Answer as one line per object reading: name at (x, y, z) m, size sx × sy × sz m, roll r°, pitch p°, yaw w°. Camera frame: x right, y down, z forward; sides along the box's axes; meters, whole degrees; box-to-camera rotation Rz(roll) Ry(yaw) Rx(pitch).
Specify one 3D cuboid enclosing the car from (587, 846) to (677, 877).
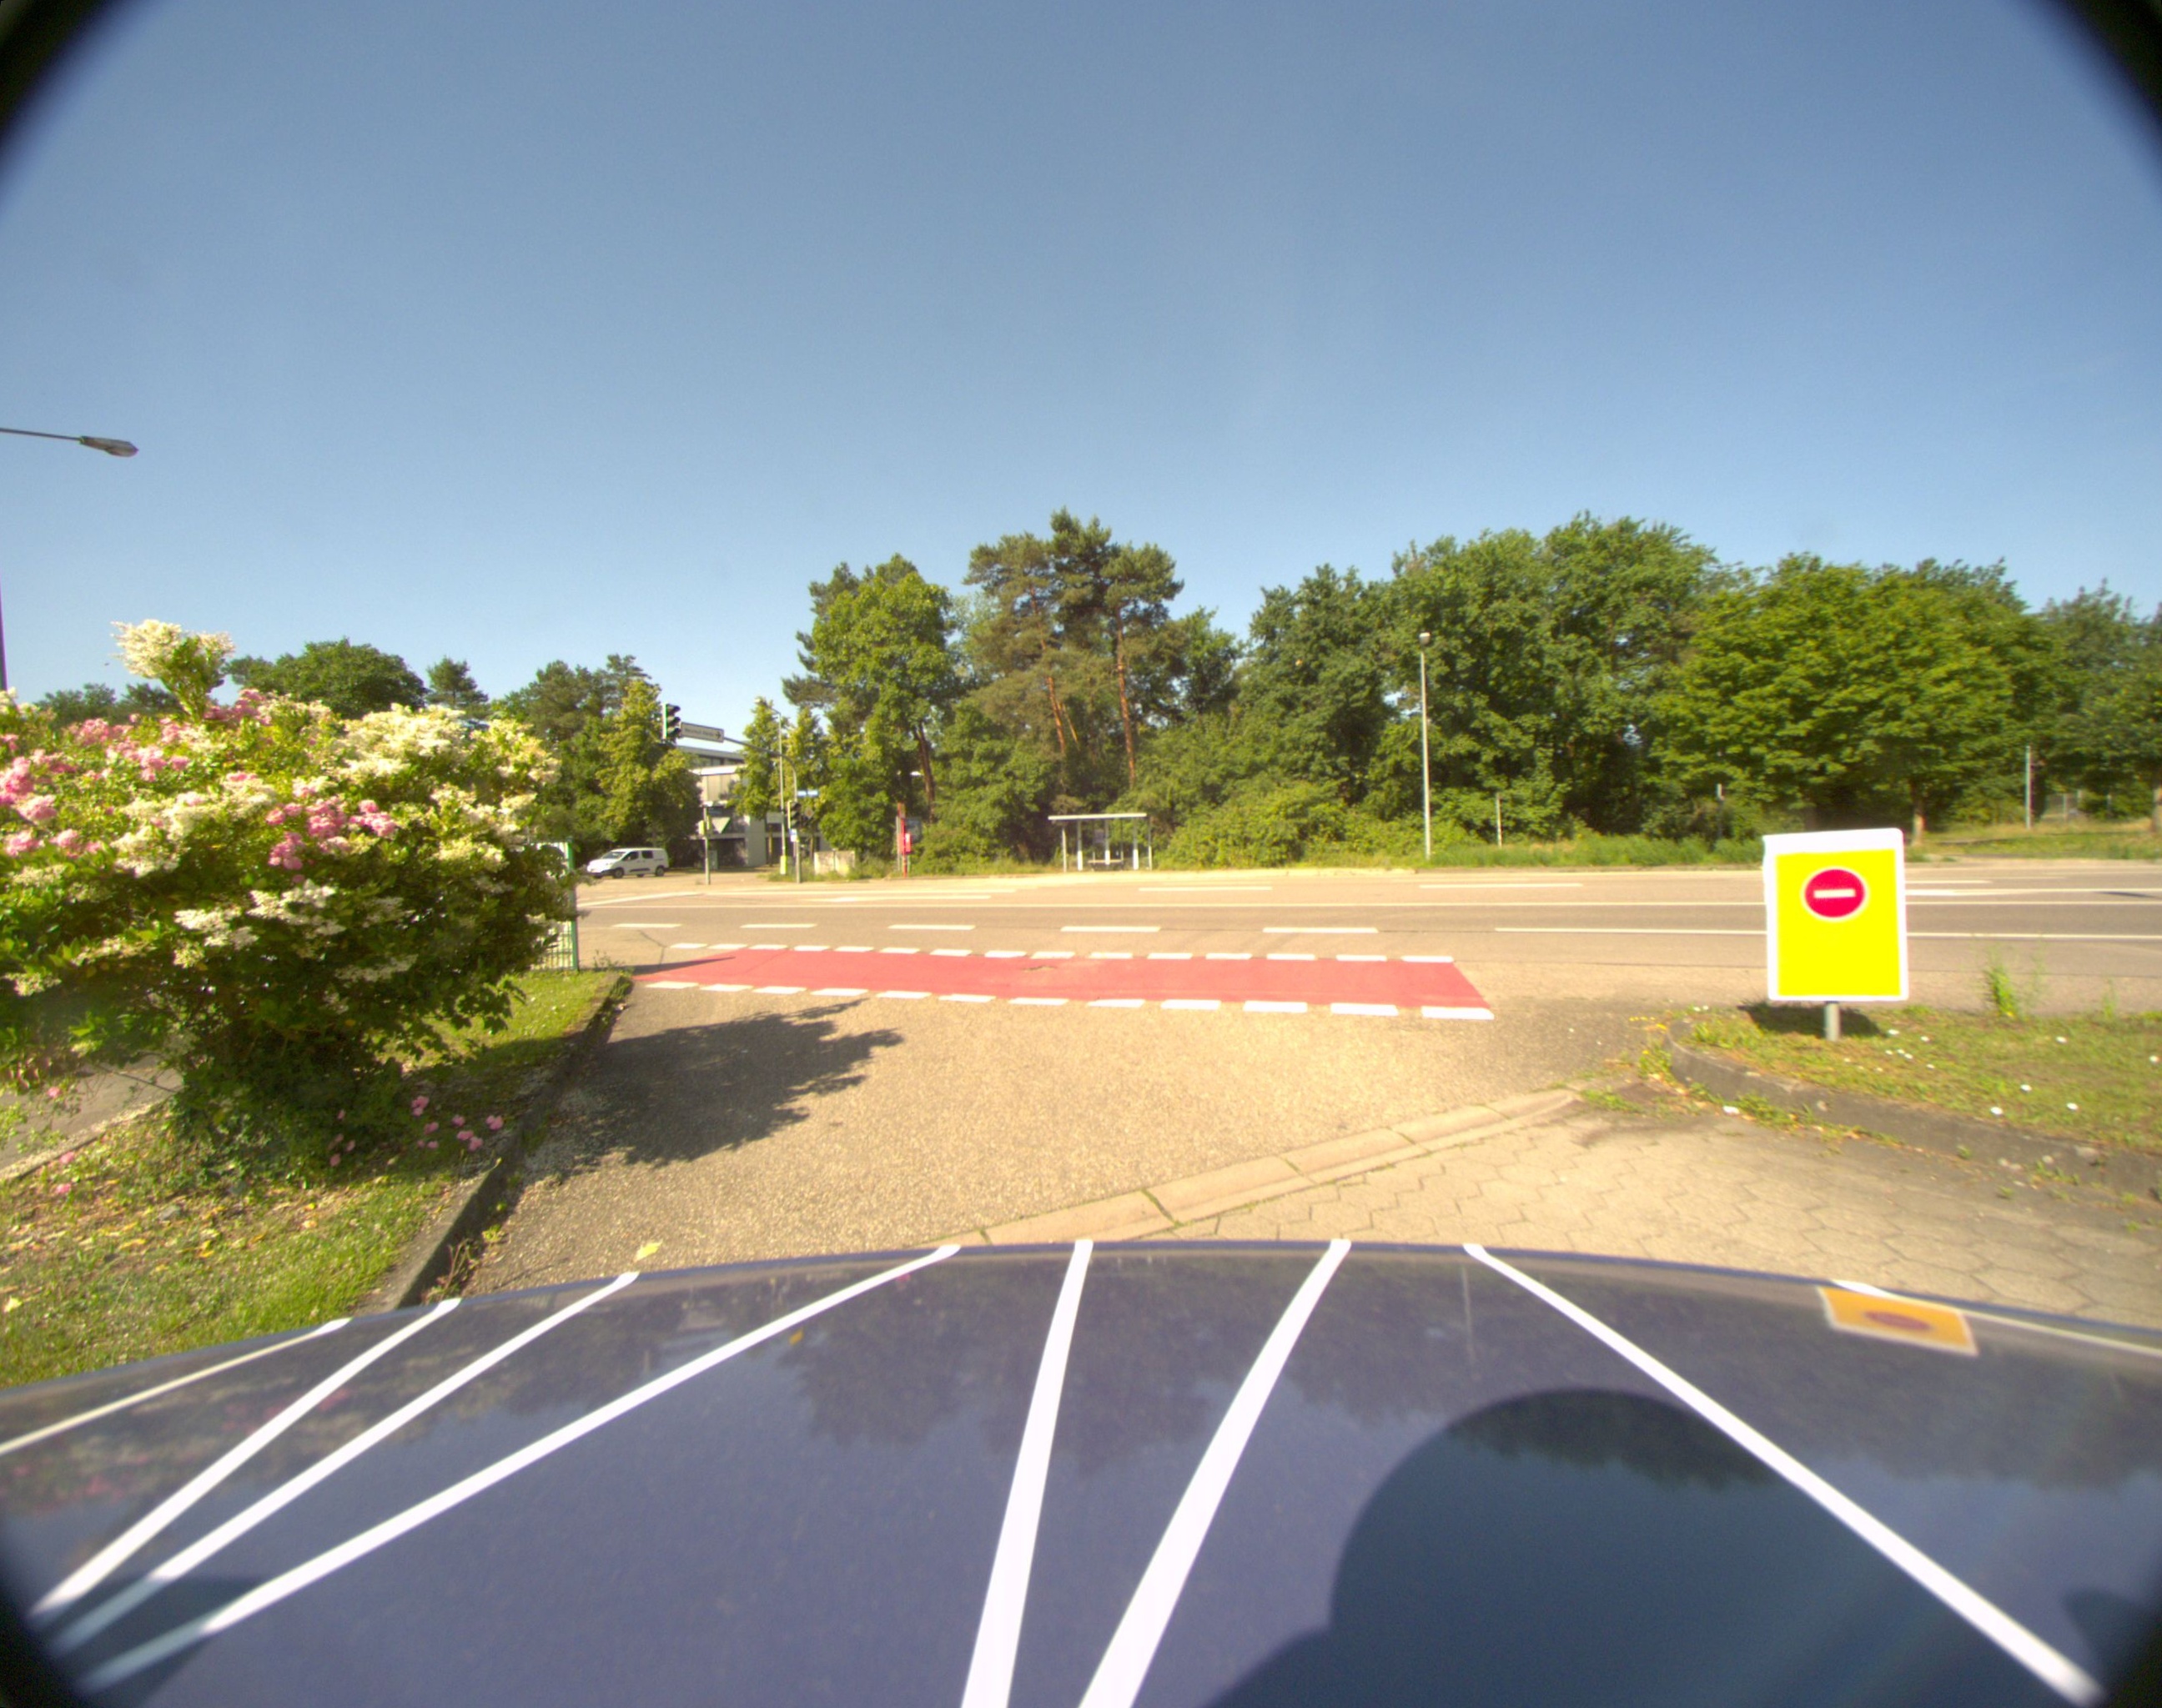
car at (-27.295, 0.432, 46.394) m, size 1.848 × 1.767 × 4.667 m, roll -1°, pitch 1°, yaw 18°
